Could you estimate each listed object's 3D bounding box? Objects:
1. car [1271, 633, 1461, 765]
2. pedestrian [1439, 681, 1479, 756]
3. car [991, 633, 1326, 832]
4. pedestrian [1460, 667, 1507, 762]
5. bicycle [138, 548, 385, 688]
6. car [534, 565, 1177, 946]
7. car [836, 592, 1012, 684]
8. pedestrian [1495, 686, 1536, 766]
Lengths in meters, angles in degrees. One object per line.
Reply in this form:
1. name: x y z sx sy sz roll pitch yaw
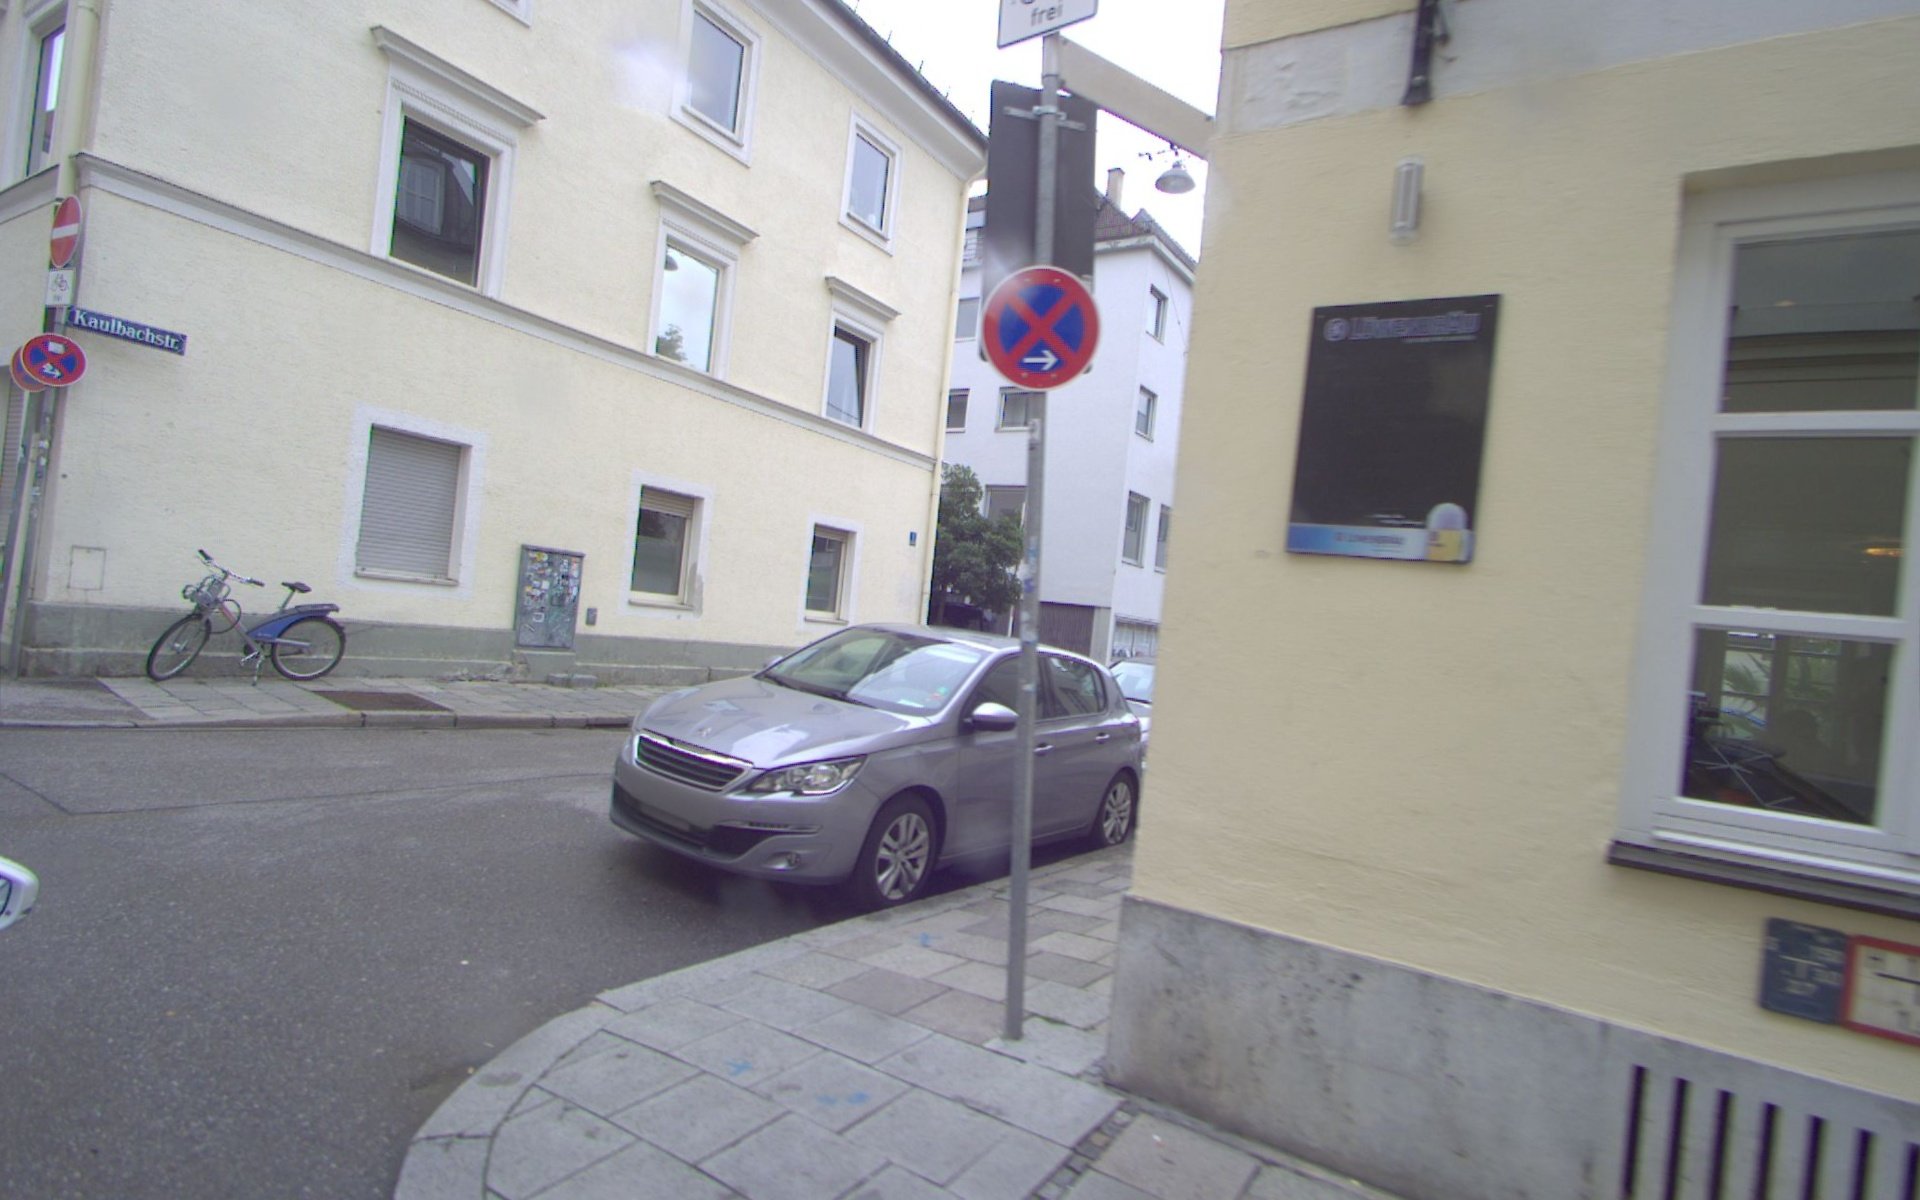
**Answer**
1. car: 7.716 1.859 18.819 2.059 1.867 4.707 9 0 36
2. pedestrian: 9.691 2.288 19.552 0.483 1.386 0.516 7 1 37
3. car: 2.263 1.302 10.464 1.736 1.404 4.189 9 0 35
4. pedestrian: 9.896 2.145 19.015 0.550 1.705 0.516 7 1 37
5. bicycle: -6.586 0.210 9.585 0.576 1.158 1.758 9 2 33
6. car: -0.305 0.837 6.419 1.736 1.458 4.019 9 0 35
7. car: -0.899 0.898 23.666 3.792 1.704 1.890 6 -1 -9
8. pedestrian: 10.569 2.382 19.133 0.483 1.439 0.516 7 1 37
